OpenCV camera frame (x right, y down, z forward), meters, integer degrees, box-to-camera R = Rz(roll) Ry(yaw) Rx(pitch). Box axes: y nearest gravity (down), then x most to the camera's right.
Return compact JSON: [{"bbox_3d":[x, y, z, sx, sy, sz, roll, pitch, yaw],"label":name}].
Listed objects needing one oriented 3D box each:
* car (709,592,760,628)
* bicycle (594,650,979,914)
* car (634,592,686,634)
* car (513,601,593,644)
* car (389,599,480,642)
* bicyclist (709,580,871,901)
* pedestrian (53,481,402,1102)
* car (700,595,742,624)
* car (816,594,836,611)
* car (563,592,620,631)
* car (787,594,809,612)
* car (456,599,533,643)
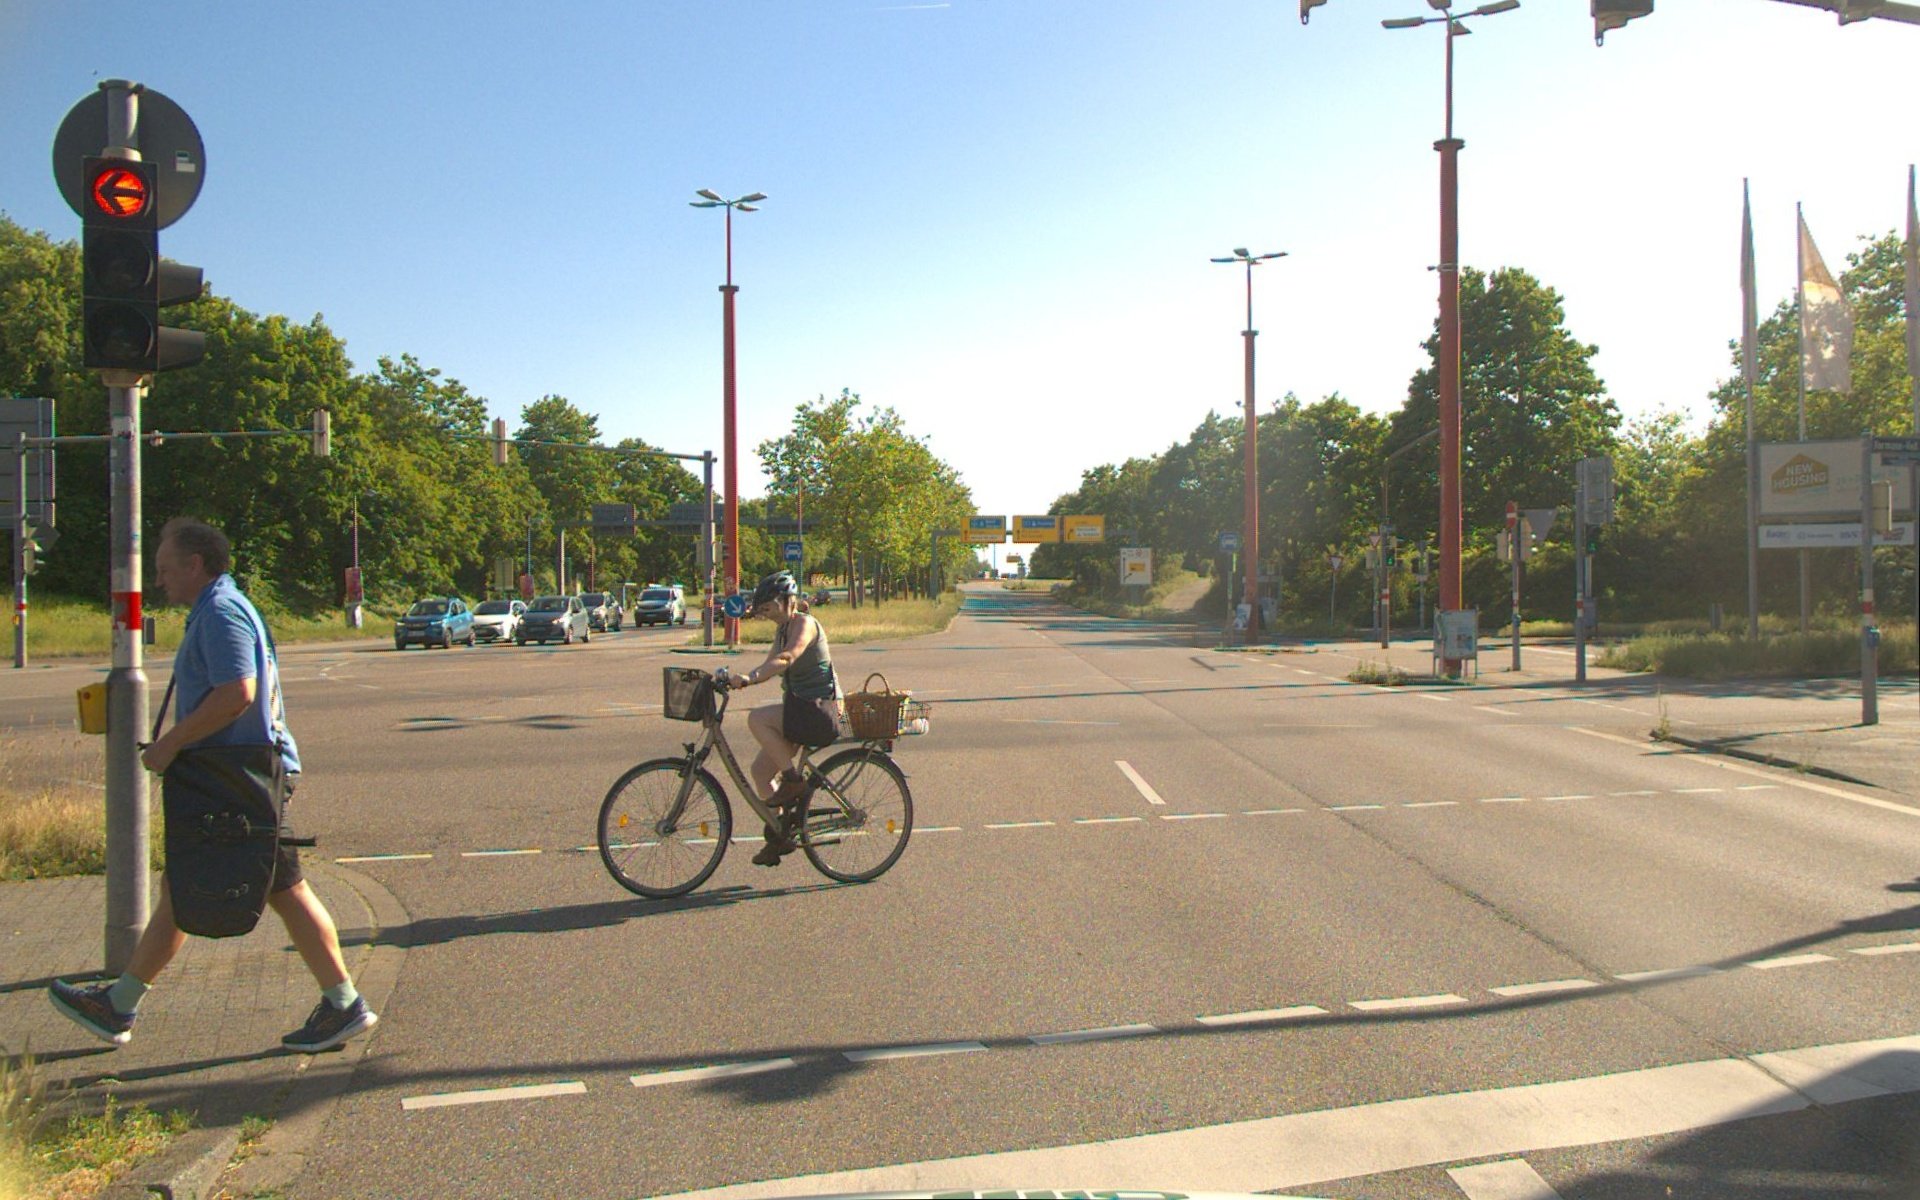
[{"bbox_3d":[-10.052,0.441,73.858,1.782,1.534,3.999,0,0,-1],"label":"car"},{"bbox_3d":[-0.901,0.901,8.770,1.920,1.216,0.686,0,0,-29],"label":"bicycle"},{"bbox_3d":[-15.299,0.649,84.633,1.855,2.061,5.221,0,0,-2],"label":"car"},{"bbox_3d":[-12.671,0.669,51.705,1.704,1.265,3.611,0,0,-2],"label":"car"},{"bbox_3d":[-16.052,0.611,50.683,1.704,1.265,3.611,0,0,-2],"label":"car"},{"bbox_3d":[-0.907,0.705,8.766,0.653,1.612,0.666,0,0,-28],"label":"bicyclist"},{"bbox_3d":[-2.400,0.561,5.497,0.971,1.825,0.948,0,0,-23],"label":"pedestrian"},{"bbox_3d":[-12.109,0.468,83.975,1.704,1.386,3.611,0,0,-2],"label":"car"},{"bbox_3d":[-13.308,0.243,164.564,1.782,1.657,3.999,0,0,-1],"label":"car"},{"bbox_3d":[-15.759,0.473,70.847,1.704,1.640,3.611,0,0,-2],"label":"car"},{"bbox_3d":[-14.932,0.285,152.660,1.762,1.668,3.998,0,0,-3],"label":"car"},{"bbox_3d":[-15.927,0.700,56.772,1.704,1.436,3.611,0,0,-2],"label":"car"}]
